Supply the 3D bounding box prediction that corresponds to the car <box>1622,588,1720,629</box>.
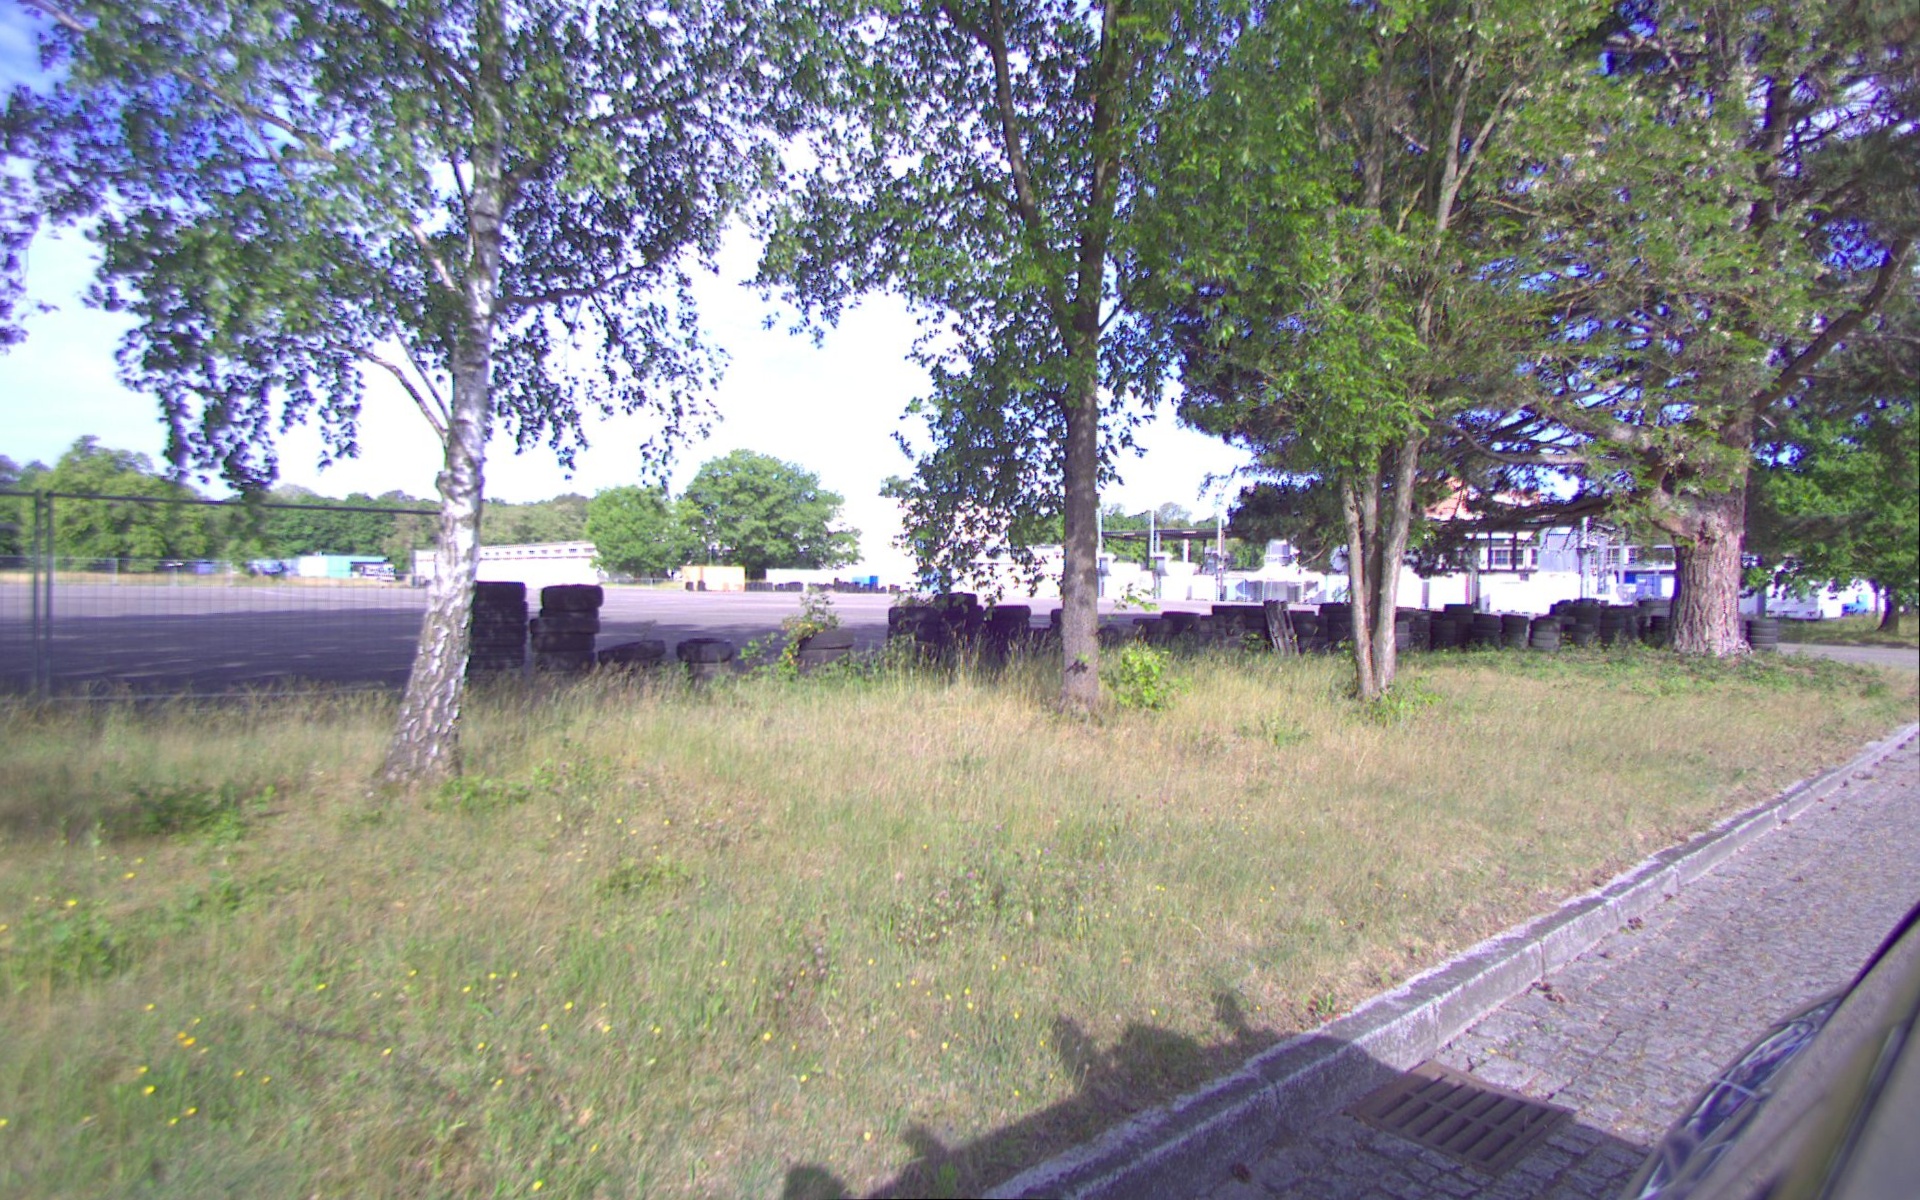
[{"bbox_3d":[27.469,0.299,39.082,3.923,1.467,1.849,0,1,-35],"label":"car"}]
